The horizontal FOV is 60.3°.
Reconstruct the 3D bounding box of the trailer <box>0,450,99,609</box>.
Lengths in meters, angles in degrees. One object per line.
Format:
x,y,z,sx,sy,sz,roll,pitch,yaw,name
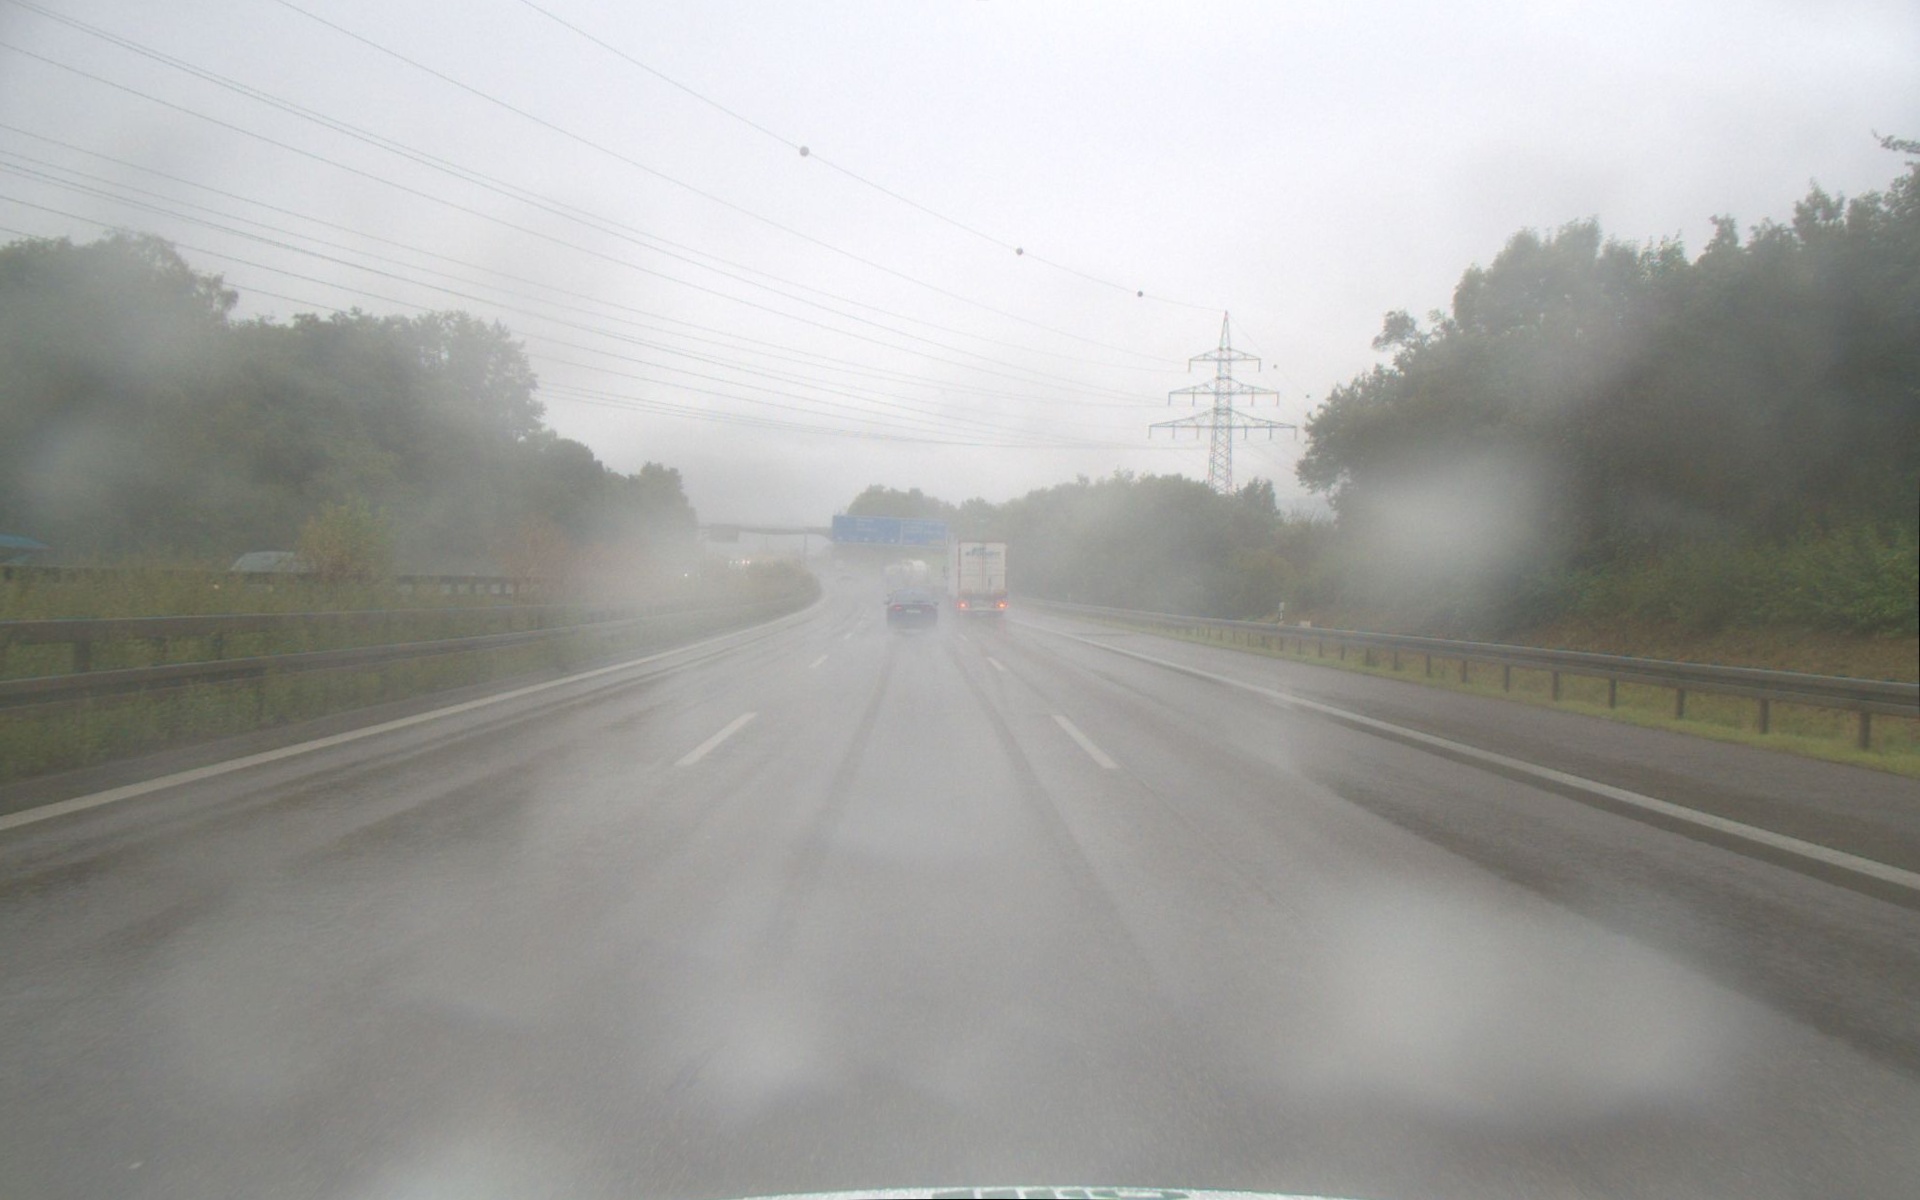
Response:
-21.485,-1.552,32.383,2.986,3.306,12.017,4,0,-1,trailer

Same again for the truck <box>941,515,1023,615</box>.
1.274,-1.866,93.150,4.169,5.059,17.342,0,0,1,truck

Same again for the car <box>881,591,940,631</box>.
-1.698,0.349,57.582,1.712,1.233,4.001,4,0,2,car

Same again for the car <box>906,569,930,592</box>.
-4.443,-2.106,176.034,2.345,2.312,5.001,3,1,-1,car
